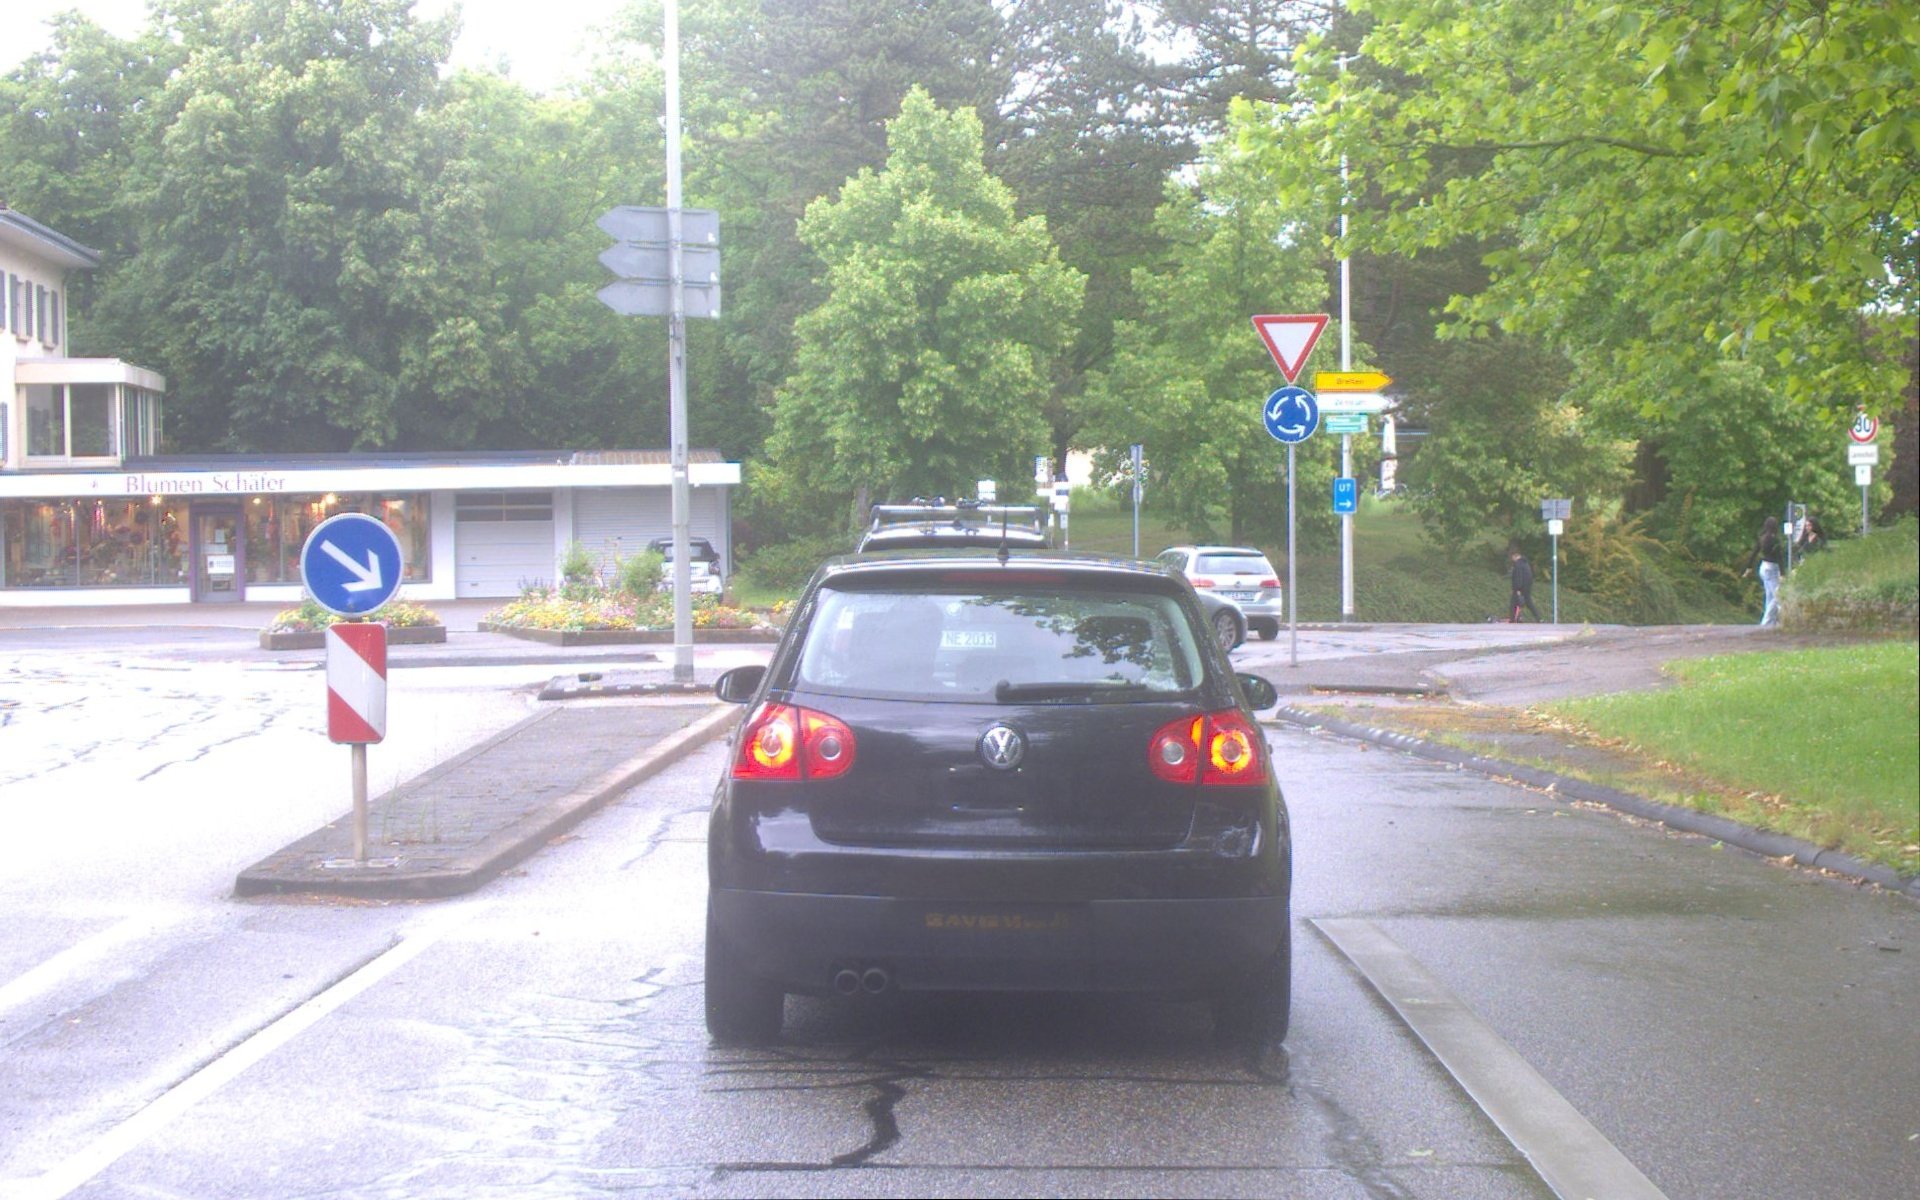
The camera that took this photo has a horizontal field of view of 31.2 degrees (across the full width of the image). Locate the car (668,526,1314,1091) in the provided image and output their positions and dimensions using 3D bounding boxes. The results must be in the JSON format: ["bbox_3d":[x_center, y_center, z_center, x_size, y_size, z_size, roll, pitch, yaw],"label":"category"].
[{"bbox_3d":[0.154,0.529,11.482,1.765,1.533,4.000,1,1,2],"label":"car"}]

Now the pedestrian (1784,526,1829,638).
[{"bbox_3d":[13.036,-0.272,52.965,0.634,1.707,0.529,1,0,16],"label":"pedestrian"}]

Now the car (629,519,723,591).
[{"bbox_3d":[-6.198,-0.990,74.662,1.812,1.481,3.832,-2,1,-7],"label":"car"}]

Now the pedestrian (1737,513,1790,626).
[{"bbox_3d":[12.272,-0.471,52.501,0.528,1.707,0.636,1,0,-15],"label":"pedestrian"}]

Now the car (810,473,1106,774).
[{"bbox_3d":[-0.082,0.126,23.197,1.764,1.795,4.246,-2,0,-2],"label":"car"}]

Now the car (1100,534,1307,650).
[{"bbox_3d":[3.765,-0.142,53.941,1.993,1.735,4.145,1,0,-15],"label":"car"}]

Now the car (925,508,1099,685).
[{"bbox_3d":[0.614,-0.058,37.985,1.765,1.795,4.246,-2,0,2],"label":"car"}]

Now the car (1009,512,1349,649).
[{"bbox_3d":[2.837,-0.244,44.144,4.020,1.678,2.000,0,0,-38],"label":"car"}]
